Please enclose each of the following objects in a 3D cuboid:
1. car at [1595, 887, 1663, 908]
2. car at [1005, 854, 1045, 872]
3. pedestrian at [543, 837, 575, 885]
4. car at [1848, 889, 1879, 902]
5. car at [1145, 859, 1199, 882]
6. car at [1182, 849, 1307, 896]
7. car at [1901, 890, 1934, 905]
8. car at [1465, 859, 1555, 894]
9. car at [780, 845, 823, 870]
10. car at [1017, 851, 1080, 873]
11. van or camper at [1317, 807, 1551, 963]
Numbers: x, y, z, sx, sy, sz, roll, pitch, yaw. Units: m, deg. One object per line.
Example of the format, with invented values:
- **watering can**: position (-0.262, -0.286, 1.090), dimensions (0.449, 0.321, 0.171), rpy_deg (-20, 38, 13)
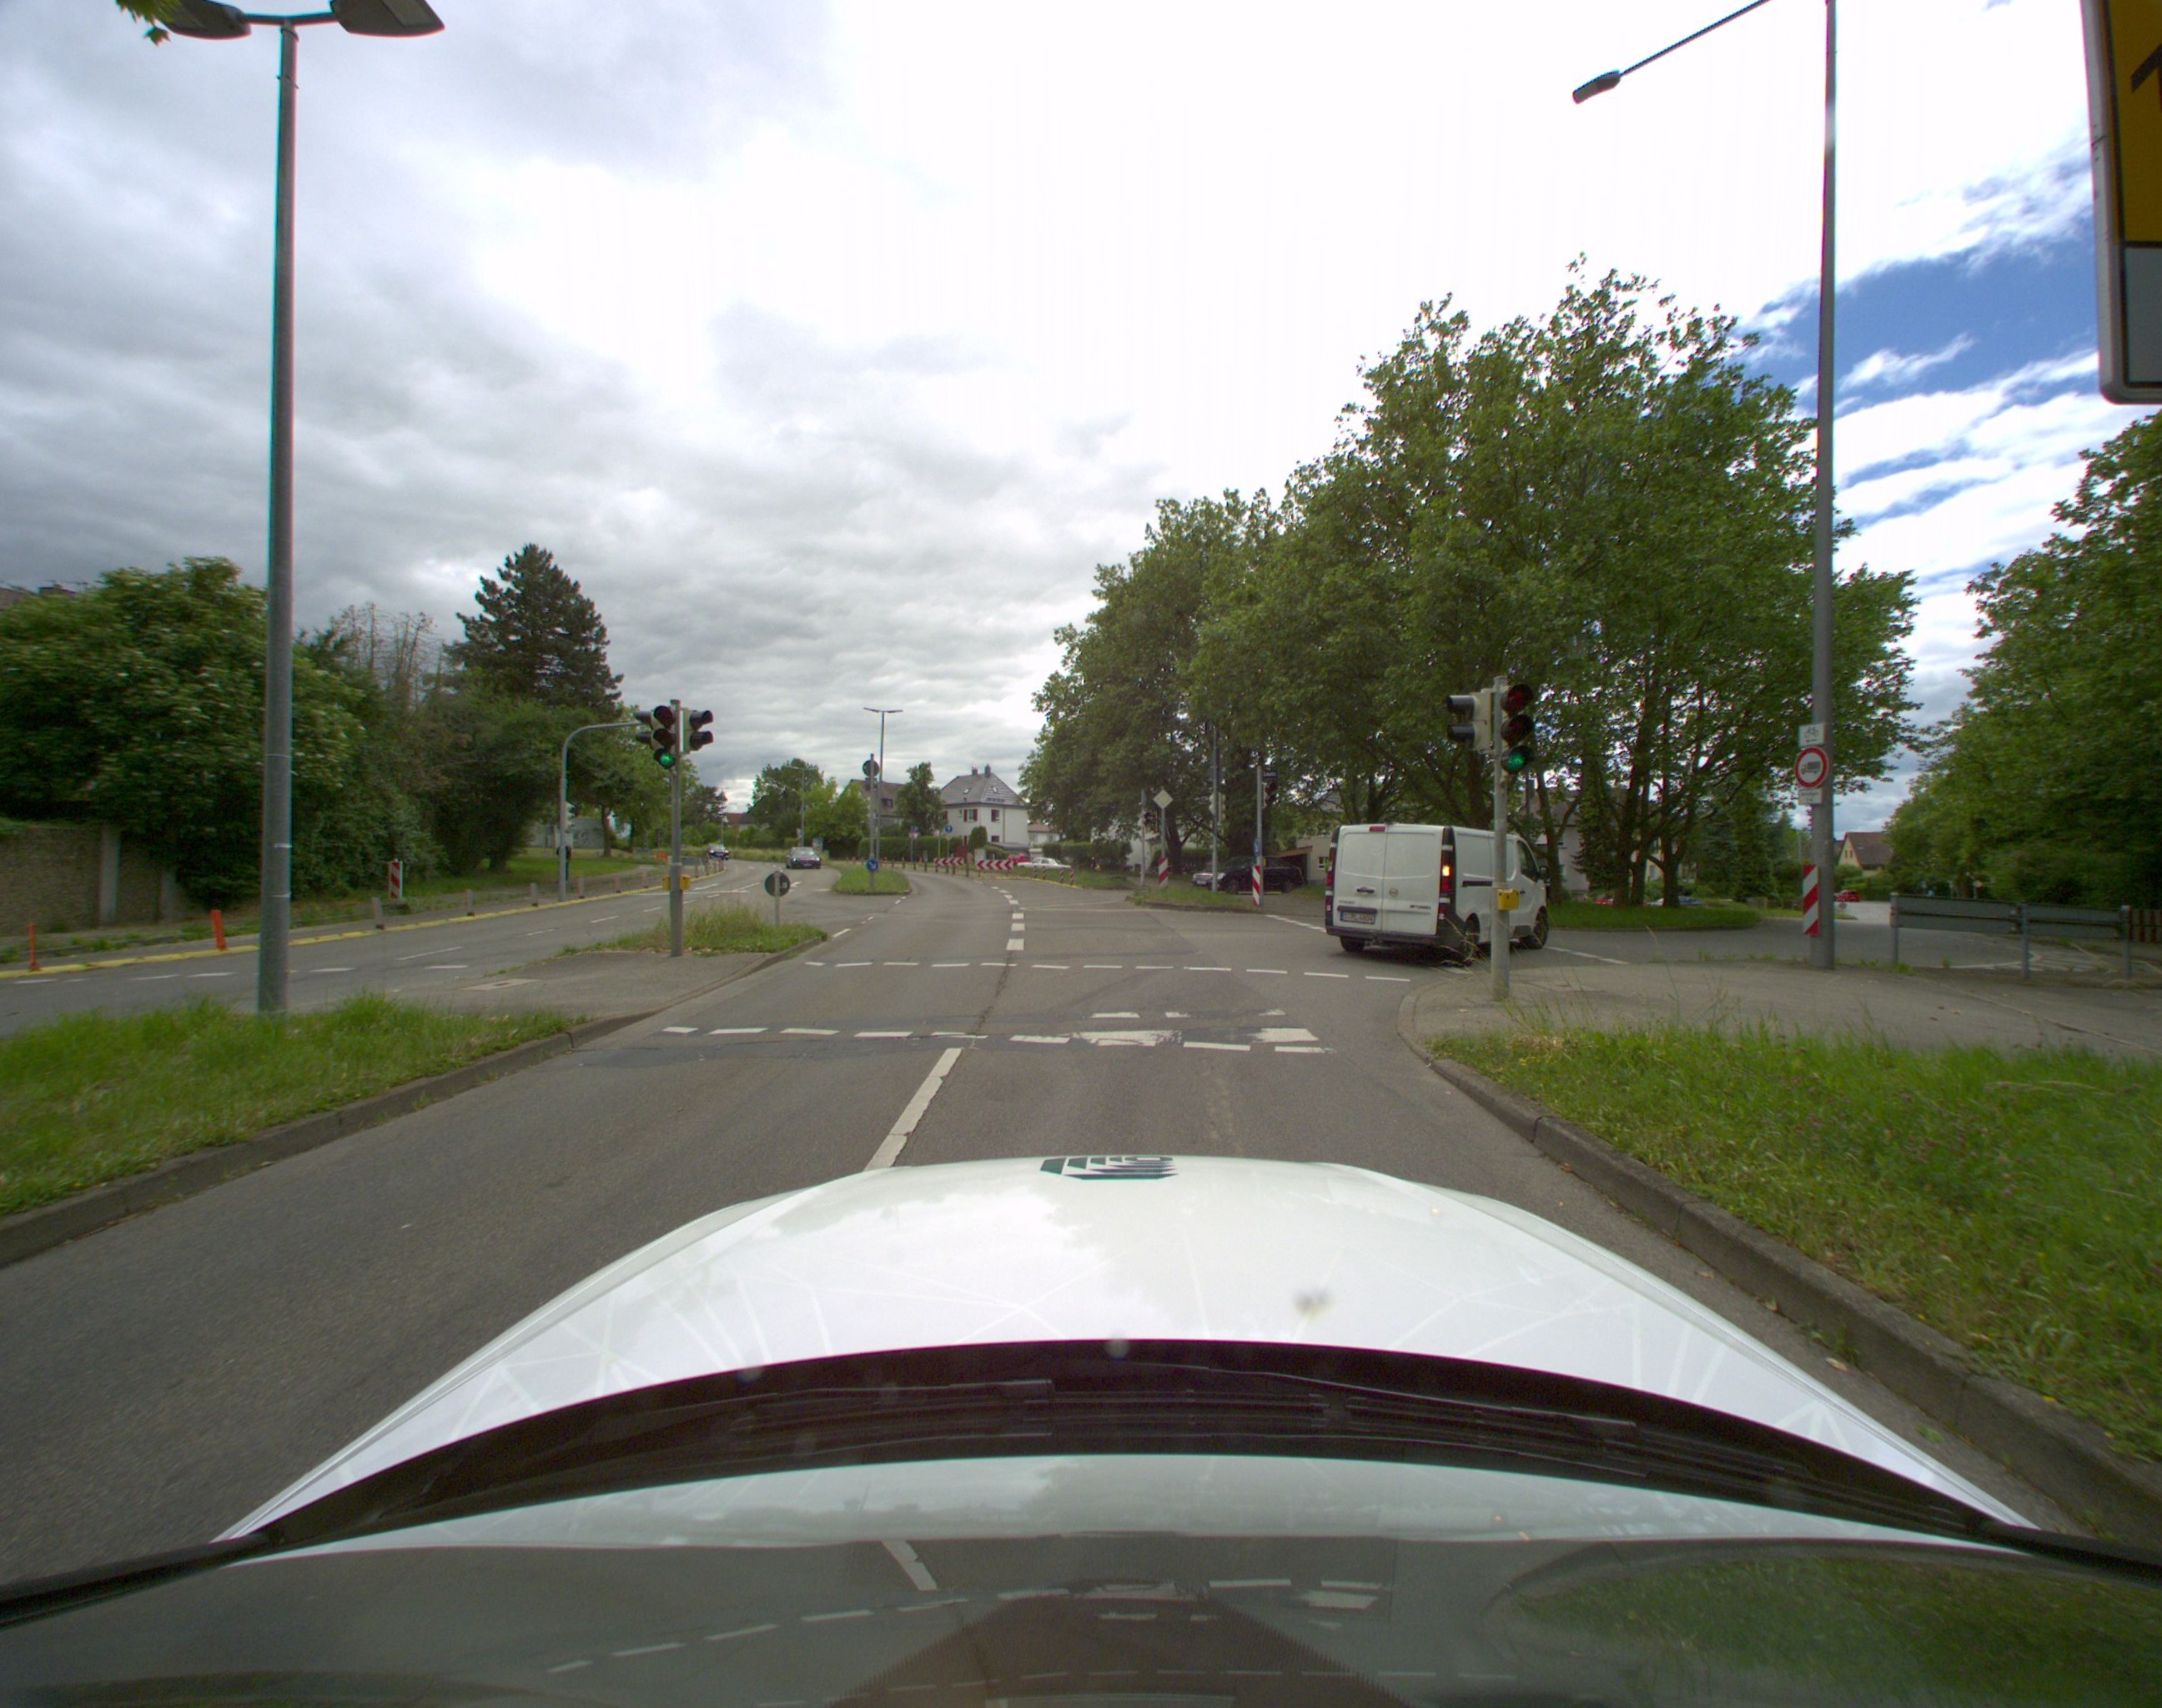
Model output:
- **car**: position (41.442, 3.288, 61.592), dimensions (4.265, 1.474, 1.726), rpy_deg (2, -2, -10)
- **car**: position (-5.244, 0.852, 76.579), dimensions (1.589, 1.517, 3.848), rpy_deg (1, -2, 36)
- **pedestrian**: position (-22.342, 0.299, 34.870), dimensions (0.953, 2.013, 0.849), rpy_deg (1, 0, -22)
- **car**: position (115.485, 6.152, 120.229), dimensions (1.744, 1.797, 4.976), rpy_deg (0, -2, 25)
- **car**: position (7.227, 1.300, 64.619), dimensions (3.954, 1.514, 1.669), rpy_deg (4, 1, 16)
- **car**: position (5.979, 0.701, 29.636), dimensions (4.401, 1.517, 1.745), rpy_deg (3, -1, -32)
- **car**: position (88.238, 4.579, 85.928), dimensions (1.710, 1.474, 3.402), rpy_deg (1, -2, 33)
- **car**: position (20.780, 1.056, 39.394), dimensions (4.628, 1.591, 1.745), rpy_deg (1, 0, -32)
- **car**: position (-19.136, 0.220, 55.660), dimensions (1.852, 1.631, 4.219), rpy_deg (-1, 1, -31)
- **car**: position (-2.782, 0.647, 68.937), dimensions (4.822, 1.791, 2.230), rpy_deg (1, 0, 27)
- **van or camper**: position (5.801, 0.403, 13.001), dimensions (1.906, 2.013, 4.858), rpy_deg (0, 0, 43)
